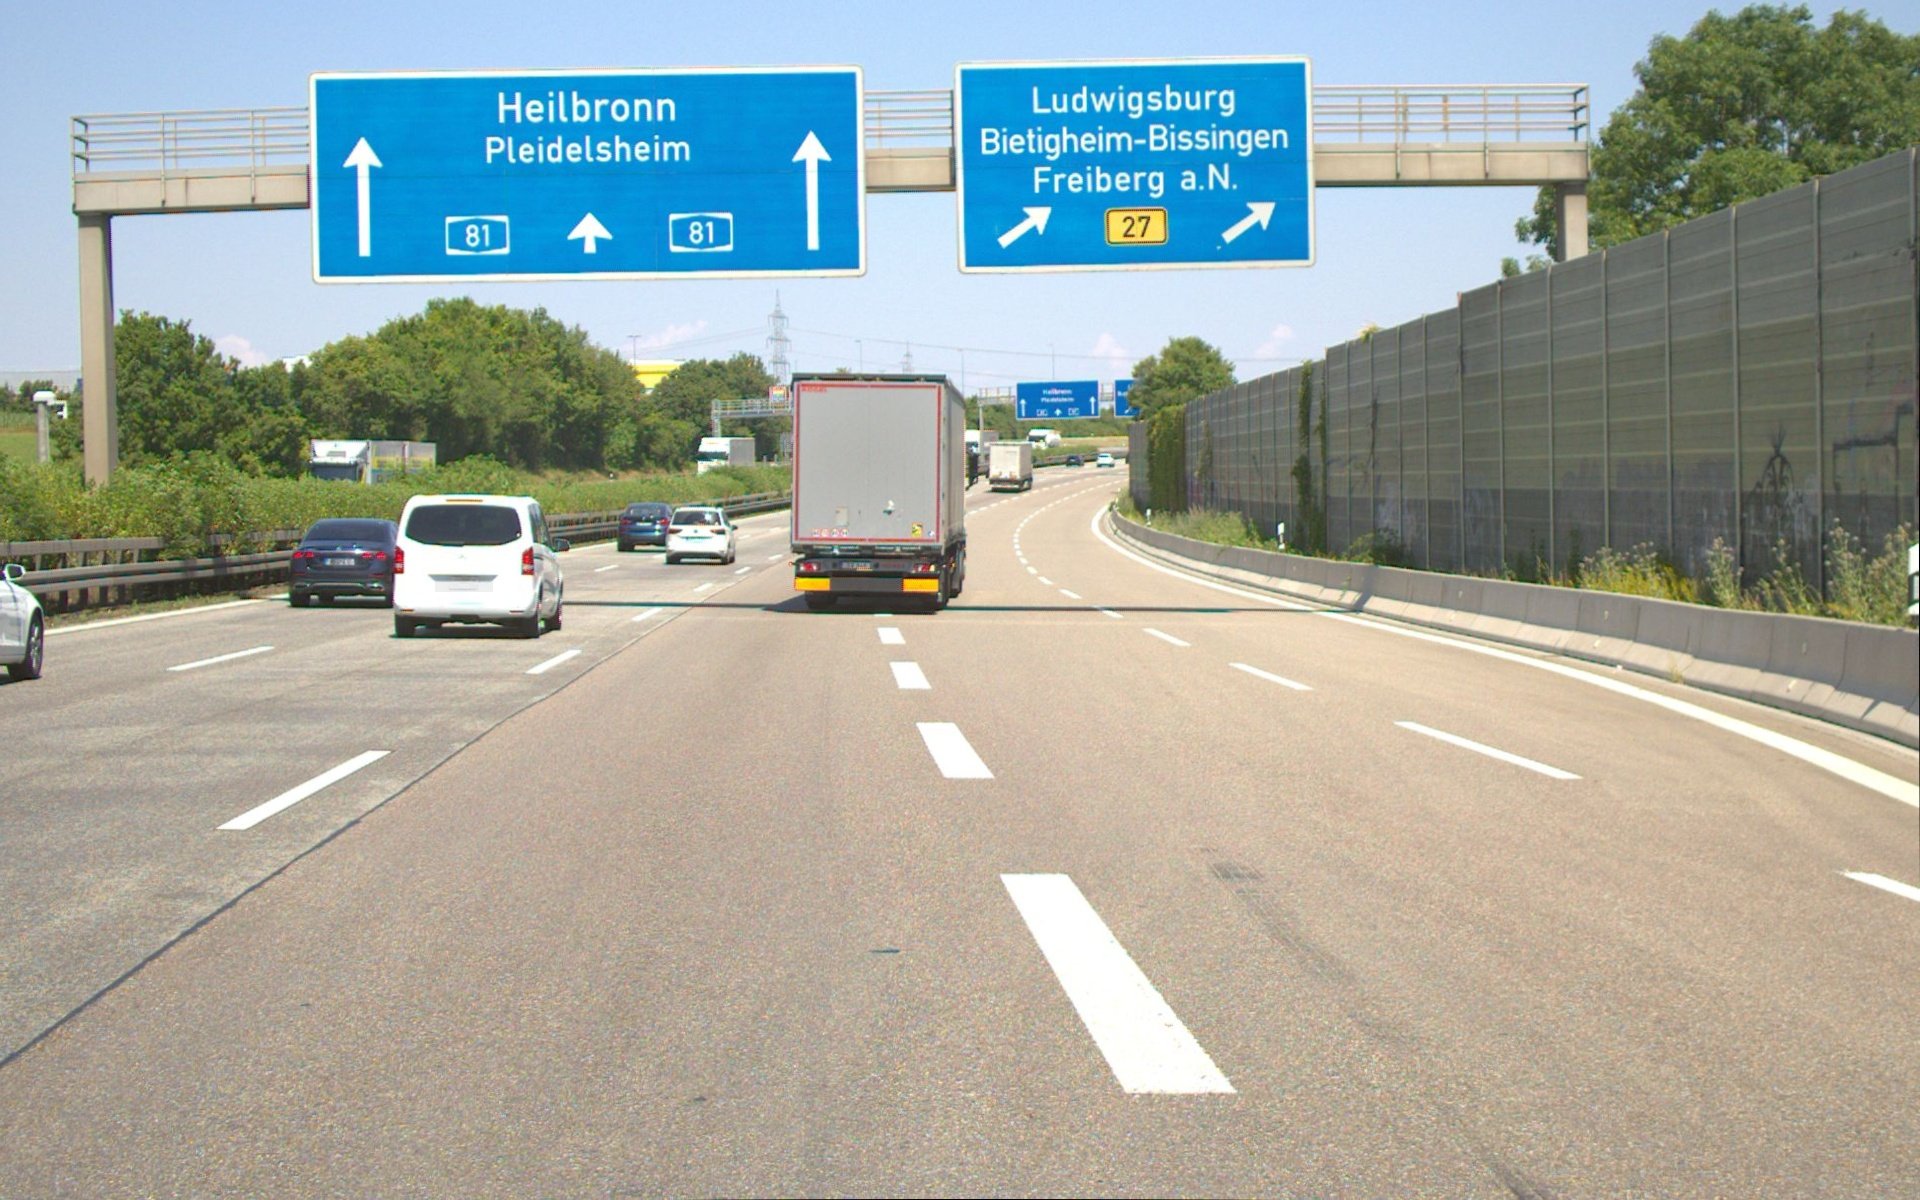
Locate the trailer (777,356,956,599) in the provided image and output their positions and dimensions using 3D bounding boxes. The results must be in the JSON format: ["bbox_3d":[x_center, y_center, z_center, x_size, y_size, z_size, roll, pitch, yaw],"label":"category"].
[{"bbox_3d":[-1.636,-2.088,62.574,2.928,4.002,12.039,0,1,-1],"label":"trailer"}]

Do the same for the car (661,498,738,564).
[{"bbox_3d":[-7.423,-1.958,98.416,1.904,1.845,4.631,0,1,-1],"label":"car"}]

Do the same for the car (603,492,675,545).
[{"bbox_3d":[-10.778,-2.769,115.791,1.904,1.683,4.632,0,3,1],"label":"car"}]

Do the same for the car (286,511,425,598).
[{"bbox_3d":[-10.215,-0.769,58.428,1.756,1.404,5.040,0,1,-3],"label":"car"}]

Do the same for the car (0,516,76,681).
[{"bbox_3d":[-9.417,-0.027,30.697,1.876,1.435,5.126,1,1,-2],"label":"car"}]

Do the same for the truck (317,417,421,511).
[{"bbox_3d":[-25.956,-5.934,151.441,3.001,3.953,10.323,1,2,-2],"label":"truck"}]

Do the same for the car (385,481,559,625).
[{"bbox_3d":[-6.500,-0.627,46.213,1.930,1.845,4.693,0,1,-3],"label":"car"}]

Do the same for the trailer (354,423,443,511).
[{"bbox_3d":[-26.194,-6.196,160.774,2.922,3.953,8.660,1,2,-2],"label":"trailer"}]
